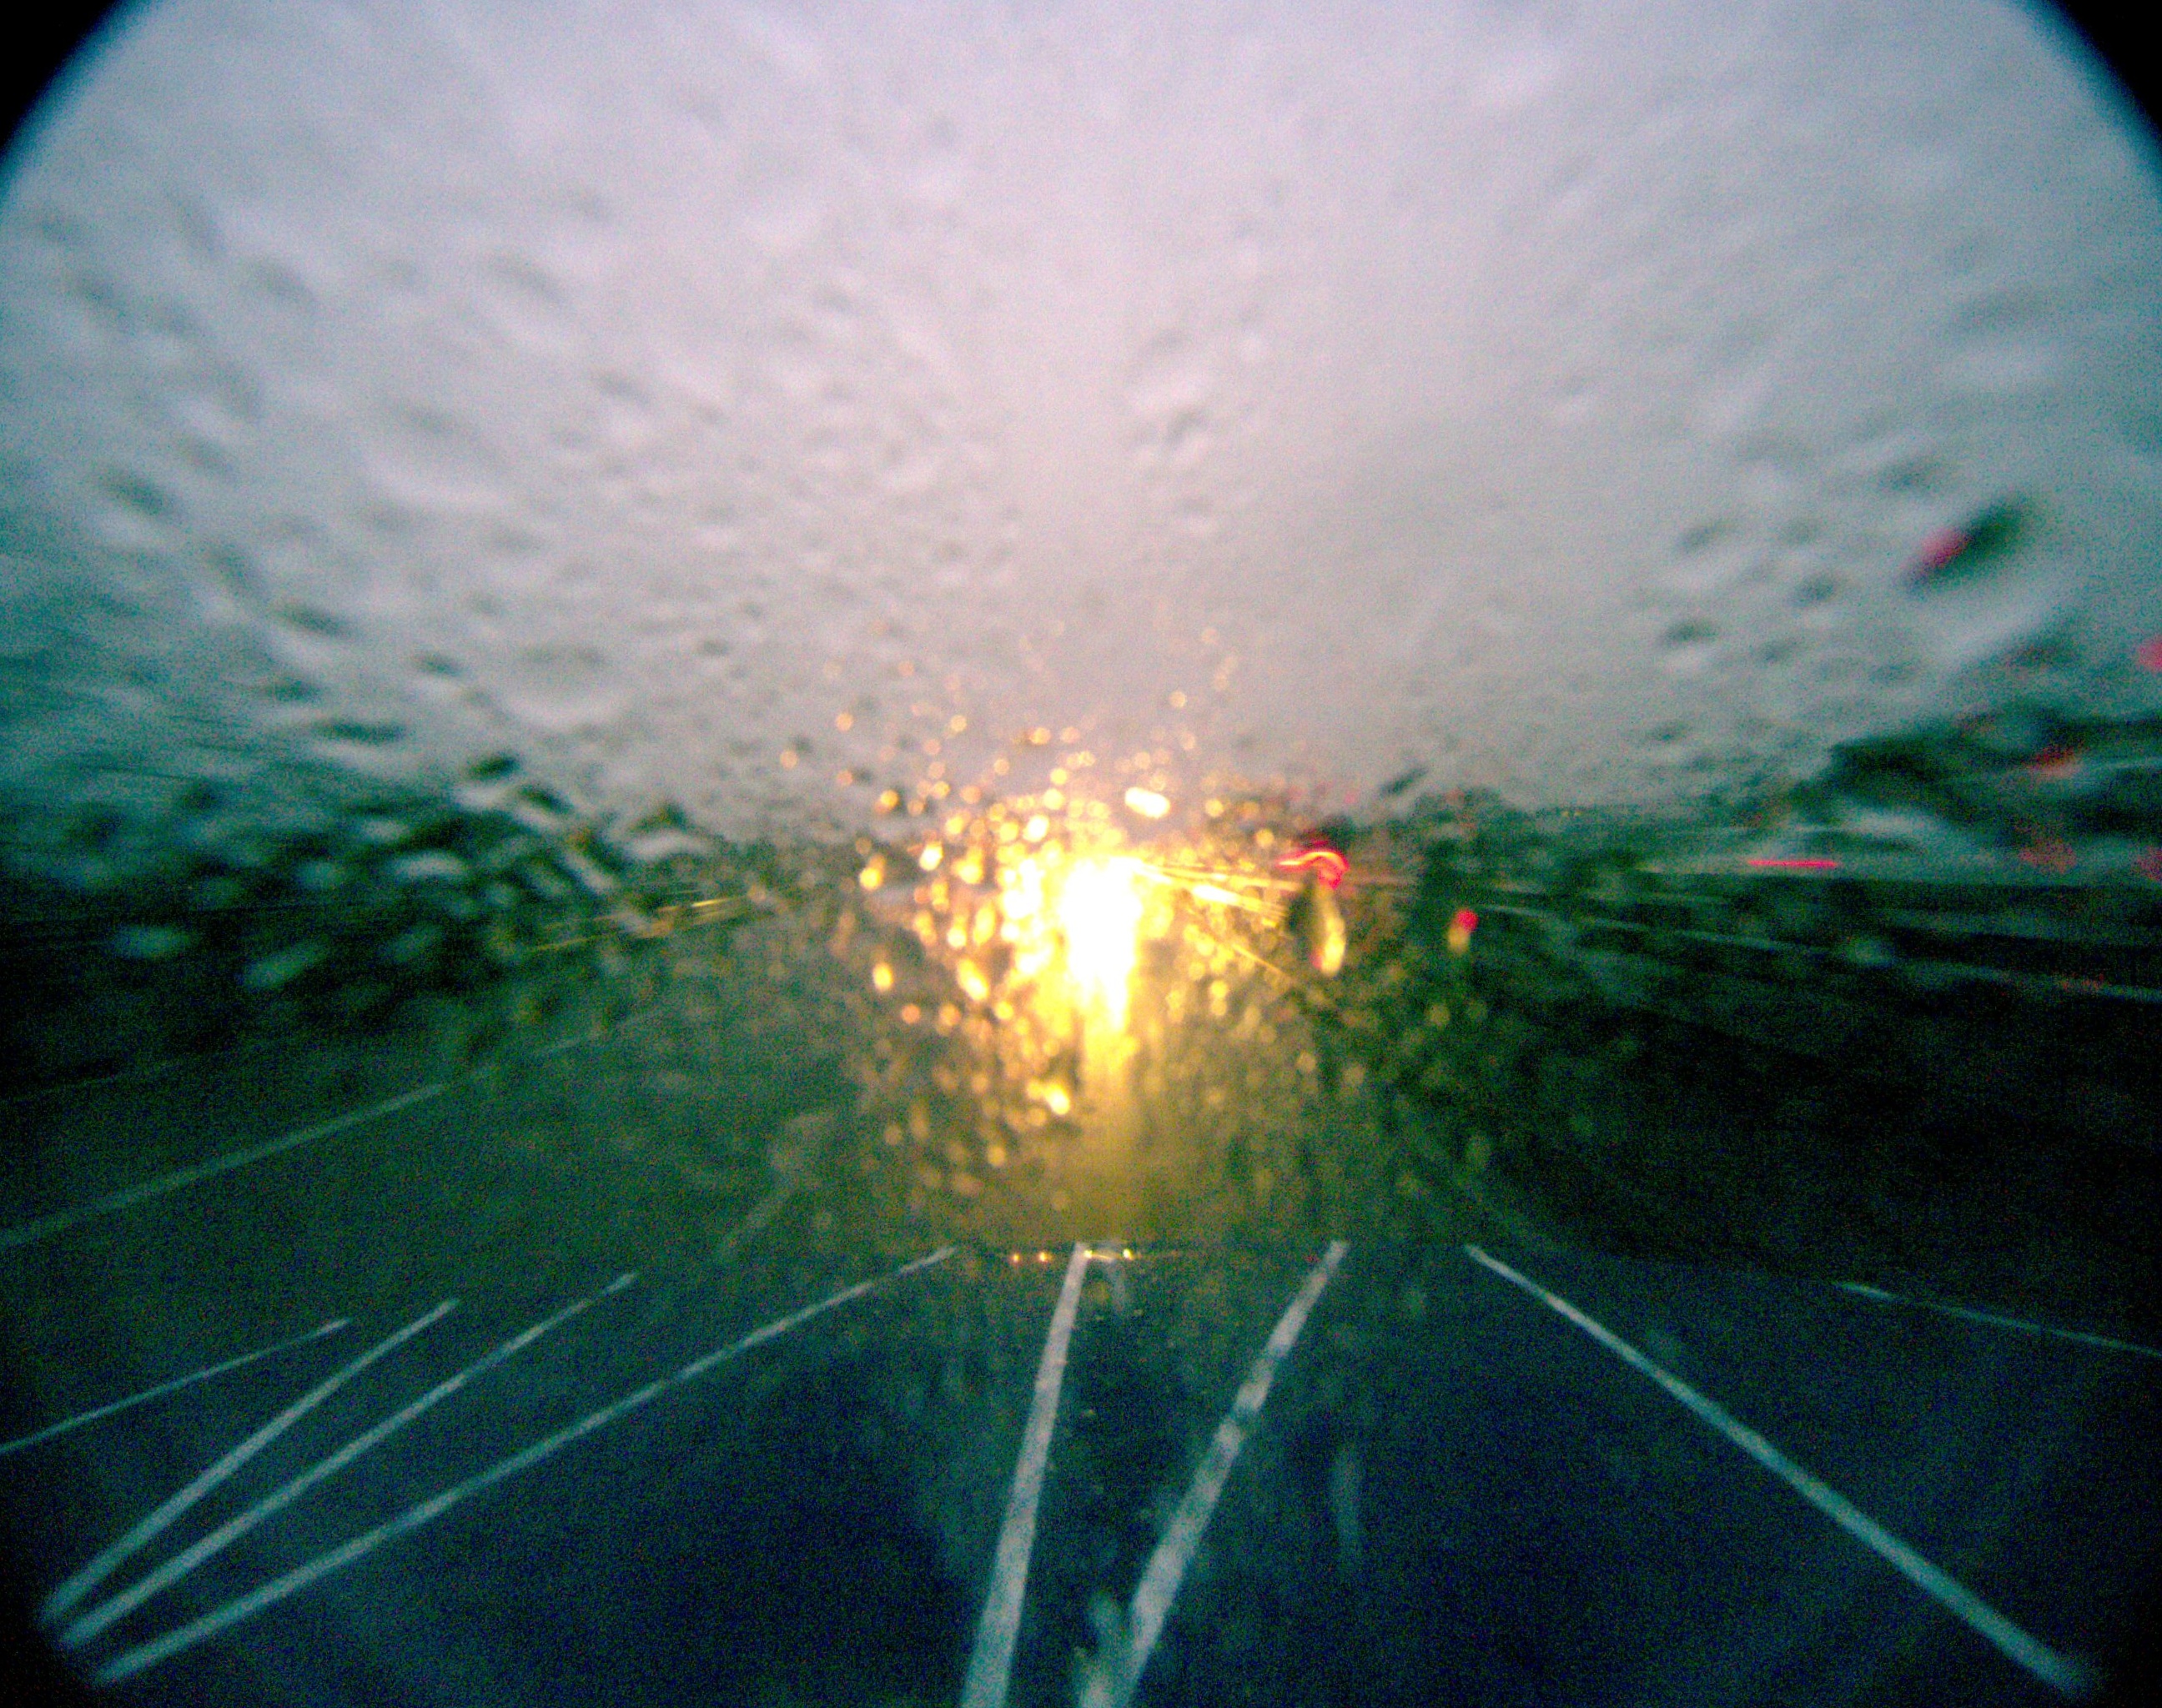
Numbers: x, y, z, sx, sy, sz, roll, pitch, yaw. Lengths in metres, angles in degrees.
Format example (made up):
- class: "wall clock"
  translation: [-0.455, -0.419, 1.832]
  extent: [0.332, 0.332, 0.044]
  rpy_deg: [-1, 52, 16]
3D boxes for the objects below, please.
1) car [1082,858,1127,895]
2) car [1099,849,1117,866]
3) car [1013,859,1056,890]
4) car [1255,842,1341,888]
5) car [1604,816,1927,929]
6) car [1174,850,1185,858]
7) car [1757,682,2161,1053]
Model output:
- class: "car"
  translation: [1.027, 0.958, 33.804]
  extent: [1.850, 1.521, 4.149]
  rpy_deg: [-2, 0, 1]
- class: "car"
  translation: [3.142, 0.402, 90.188]
  extent: [1.998, 2.002, 4.000]
  rpy_deg: [-2, 0, 1]
- class: "car"
  translation: [-2.457, 1.069, 41.185]
  extent: [1.850, 1.521, 4.150]
  rpy_deg: [-2, 0, 3]
- class: "car"
  translation: [7.922, 0.383, 28.137]
  extent: [1.969, 1.493, 4.373]
  rpy_deg: [-2, 0, 1]
- class: "car"
  translation: [11.062, 0.281, 12.743]
  extent: [1.860, 1.557, 3.922]
  rpy_deg: [-2, 0, 0]
- class: "car"
  translation: [21.638, -0.026, 167.499]
  extent: [1.899, 1.773, 4.705]
  rpy_deg: [-2, 0, 3]
- class: "car"
  translation: [7.258, 0.038, 4.740]
  extent: [2.086, 2.135, 4.461]
  rpy_deg: [-2, 0, 1]
